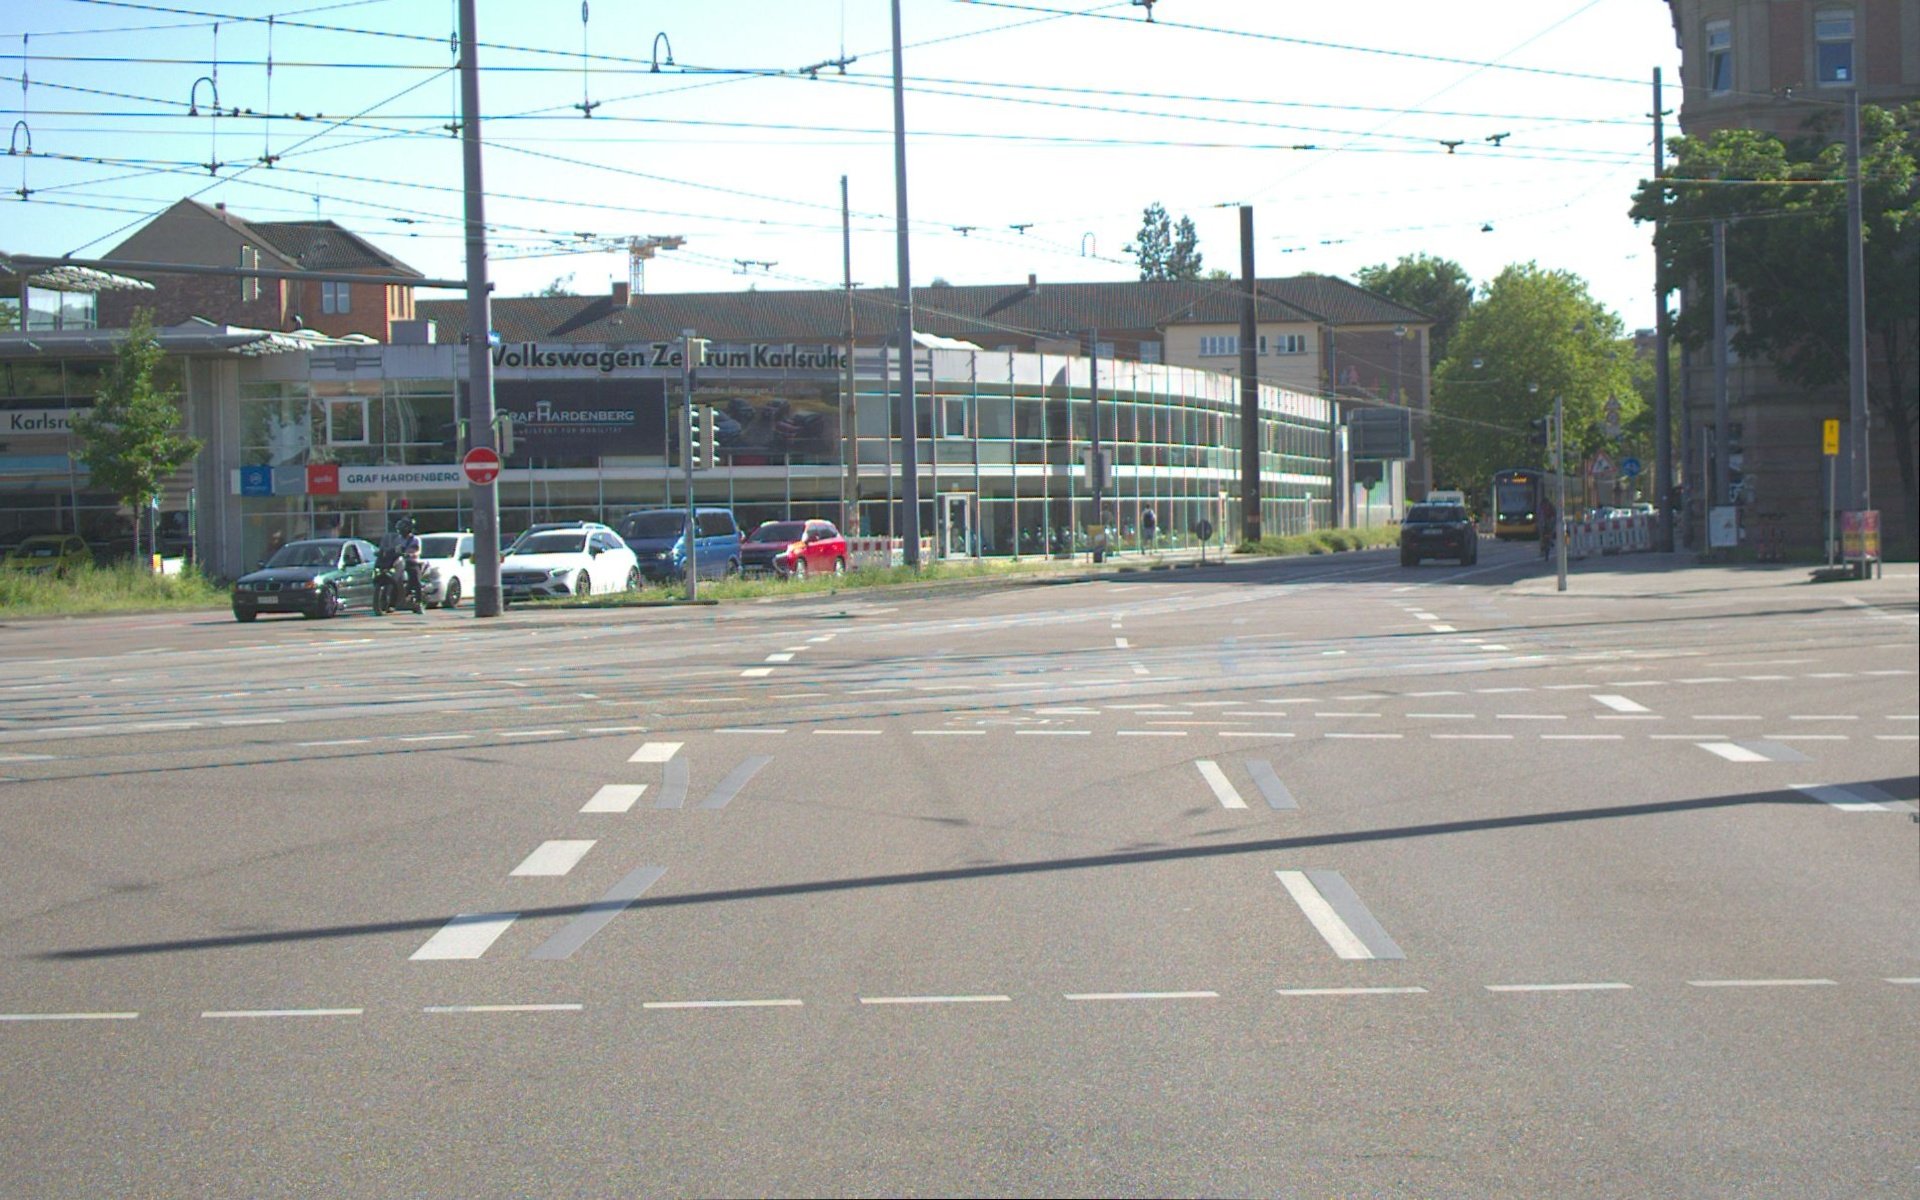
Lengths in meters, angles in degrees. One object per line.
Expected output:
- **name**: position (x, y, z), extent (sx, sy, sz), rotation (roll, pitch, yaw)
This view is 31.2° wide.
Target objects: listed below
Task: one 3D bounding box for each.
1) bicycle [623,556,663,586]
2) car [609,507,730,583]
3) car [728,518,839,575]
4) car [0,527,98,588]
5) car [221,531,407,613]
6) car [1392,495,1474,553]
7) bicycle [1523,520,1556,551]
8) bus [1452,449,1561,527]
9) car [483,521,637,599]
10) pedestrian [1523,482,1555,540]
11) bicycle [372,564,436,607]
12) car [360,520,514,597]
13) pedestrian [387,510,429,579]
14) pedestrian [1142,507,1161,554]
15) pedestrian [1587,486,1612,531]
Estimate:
- **bicycle**: position (-7.847, -0.728, 85.216), extent (0.423, 0.715, 1.474), rotation (-1, 1, 18)
- **car**: position (-6.649, -1.278, 78.960), extent (1.627, 1.686, 3.683), rotation (-1, 1, 14)
- **car**: position (-4.401, -1.349, 86.087), extent (1.627, 1.359, 3.683), rotation (-1, 1, 16)
- **car**: position (-26.537, -1.244, 99.878), extent (1.966, 1.700, 4.084), rotation (-1, 1, -1)
- **car**: position (-11.392, -0.508, 60.878), extent (1.705, 1.349, 3.698), rotation (-1, 1, 17)
- **car**: position (12.589, -2.030, 91.369), extent (1.700, 1.497, 4.262), rotation (-1, 1, 14)
- **bicycle**: position (16.520, -1.833, 97.937), extent (0.743, 0.867, 1.930), rotation (-1, 1, 15)
- **bus**: position (28.603, -5.684, 178.772), extent (3.839, 3.595, 24.852), rotation (1, 1, 13)
- **car**: position (-7.524, -0.771, 64.948), extent (1.627, 1.377, 3.735), rotation (-1, 1, 14)
- **pedestrian**: position (16.568, -2.536, 98.319), extent (0.803, 1.626, 0.717), rotation (-1, 1, 15)
- **bicycle**: position (-9.748, -0.256, 60.345), extent (0.423, 0.715, 1.633), rotation (-1, 1, 17)
- **car**: position (-10.124, -0.826, 66.829), extent (1.627, 1.419, 3.683), rotation (-1, 1, 14)
- **pedestrian**: position (-9.715, -0.985, 60.484), extent (0.423, 1.200, 0.749), rotation (-1, 1, 17)
- **pedestrian**: position (6.943, -2.521, 124.583), extent (0.543, 1.683, 0.630), rotation (-1, 1, 17)
- **pedestrian**: position (21.807, -3.129, 117.209), extent (0.746, 1.517, 0.717), rotation (-1, 1, 15)
